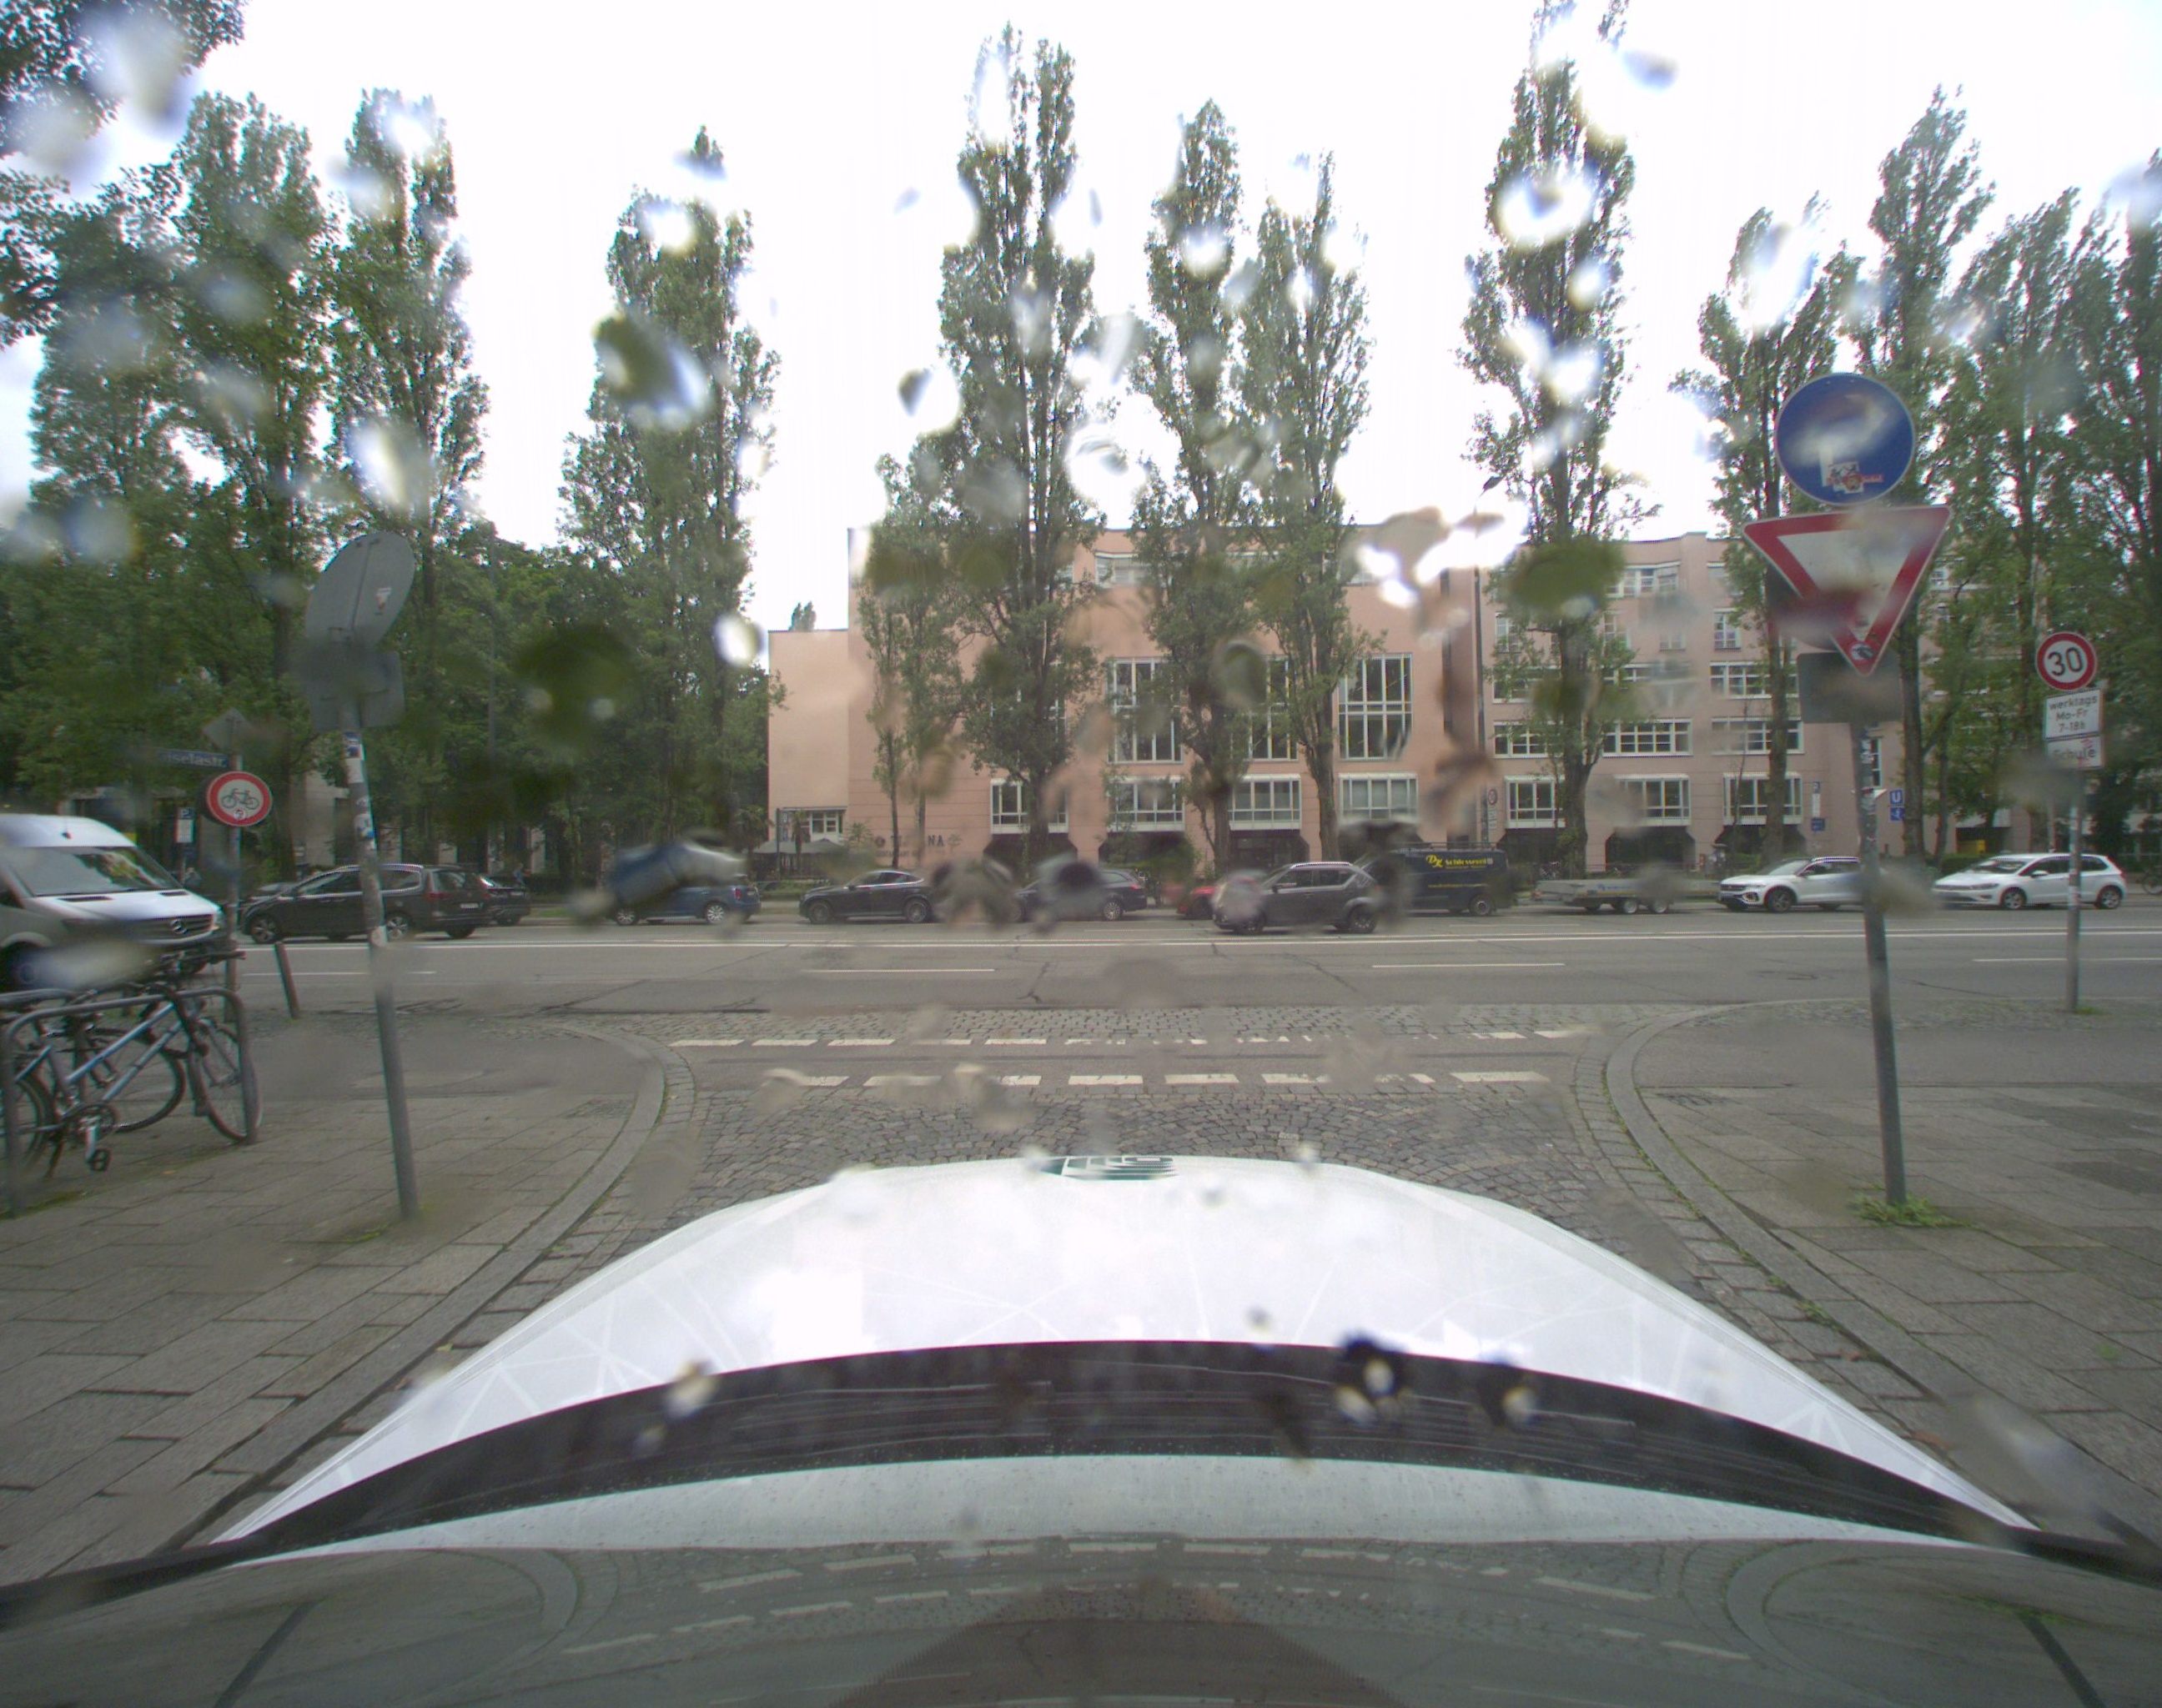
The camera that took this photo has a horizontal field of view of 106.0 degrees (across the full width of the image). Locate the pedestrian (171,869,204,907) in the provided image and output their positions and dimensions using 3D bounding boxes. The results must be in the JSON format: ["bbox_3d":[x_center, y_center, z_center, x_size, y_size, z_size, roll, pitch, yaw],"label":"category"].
[{"bbox_3d":[-40.663,1.536,37.080,0.726,1.713,0.710,-1,-1,3],"label":"pedestrian"}]

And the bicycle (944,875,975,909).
[{"bbox_3d":[-4.245,1.314,28.585,0.671,1.124,1.990,-1,0,3],"label":"bicycle"}]

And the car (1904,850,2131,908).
[{"bbox_3d":[26.970,0.686,23.563,4.297,1.542,1.999,-1,0,-1],"label":"car"}]

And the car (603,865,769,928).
[{"bbox_3d":[-11.736,1.253,24.400,4.051,1.732,1.793,-1,-2,0],"label":"car"}]

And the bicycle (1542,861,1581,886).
[{"bbox_3d":[21.889,0.874,37.139,0.671,1.124,1.990,-1,0,3],"label":"bicycle"}]

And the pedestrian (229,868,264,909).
[{"bbox_3d":[-35.000,1.438,34.163,0.726,1.713,0.710,-1,-1,3],"label":"pedestrian"}]

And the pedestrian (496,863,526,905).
[{"bbox_3d":[-23.355,1.212,33.381,0.726,1.713,0.710,-1,-1,3],"label":"pedestrian"}]

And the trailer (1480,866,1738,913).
[{"bbox_3d":[15.329,1.006,23.967,5.994,1.199,2.406,-1,0,2],"label":"trailer"}]

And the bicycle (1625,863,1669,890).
[{"bbox_3d":[25.479,0.999,36.716,0.671,1.124,1.990,-1,0,3],"label":"bicycle"}]

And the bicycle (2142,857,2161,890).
[{"bbox_3d":[37.633,0.672,27.660,0.671,1.124,1.990,-1,0,3],"label":"bicycle"}]

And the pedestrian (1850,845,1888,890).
[{"bbox_3d":[30.073,0.517,31.084,0.726,1.713,0.710,-1,-1,3],"label":"pedestrian"}]

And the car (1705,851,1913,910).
[{"bbox_3d":[20.728,0.768,23.346,4.202,1.542,1.808,-1,-2,4],"label":"car"}]

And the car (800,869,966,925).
[{"bbox_3d":[-5.851,1.253,24.400,4.482,1.529,1.794,-1,0,2],"label":"car"}]

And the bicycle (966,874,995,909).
[{"bbox_3d":[-3.503,1.301,28.543,0.671,1.124,1.990,-1,0,3],"label":"bicycle"}]

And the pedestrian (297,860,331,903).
[{"bbox_3d":[-31.300,1.111,33.235,0.726,1.713,0.710,-1,-1,3],"label":"pedestrian"}]

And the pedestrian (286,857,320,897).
[{"bbox_3d":[-33.127,0.973,34.687,0.726,1.713,0.710,-1,-1,3],"label":"pedestrian"}]

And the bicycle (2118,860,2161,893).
[{"bbox_3d":[36.892,0.763,27.727,0.671,1.124,1.990,-1,0,3],"label":"bicycle"}]

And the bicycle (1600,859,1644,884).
[{"bbox_3d":[24.495,0.778,36.895,0.671,1.124,2.108,-1,0,3],"label":"bicycle"}]

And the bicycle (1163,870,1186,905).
[{"bbox_3d":[3.239,1.142,28.367,0.671,1.124,1.743,-1,0,3],"label":"bicycle"}]

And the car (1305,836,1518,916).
[{"bbox_3d":[9.584,0.625,23.985,5.458,2.197,2.025,-1,0,2],"label":"car"}]

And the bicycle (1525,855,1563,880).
[{"bbox_3d":[21.074,0.607,37.083,0.671,1.124,1.990,-1,0,3],"label":"bicycle"}]

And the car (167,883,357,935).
[{"bbox_3d":[-24.558,1.620,24.519,3.854,1.412,1.794,1,-2,2],"label":"car"}]

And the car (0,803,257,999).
[{"bbox_3d":[-16.400,0.674,12.210,5.999,2.651,2.048,-1,1,1],"label":"car"}]

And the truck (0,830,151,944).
[{"bbox_3d":[-30.308,0.885,22.234,7.028,2.908,2.603,-1,-1,2],"label":"truck"}]

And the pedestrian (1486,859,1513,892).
[{"bbox_3d":[17.384,0.879,33.848,0.711,1.369,0.725,0,-1,-27],"label":"pedestrian"}]

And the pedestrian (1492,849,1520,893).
[{"bbox_3d":[16.779,0.651,32.134,0.726,1.713,0.710,-1,-1,3],"label":"pedestrian"}]

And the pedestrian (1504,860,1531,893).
[{"bbox_3d":[18.157,0.936,33.891,0.726,1.369,0.710,-1,-1,3],"label":"pedestrian"}]

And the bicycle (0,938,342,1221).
[{"bbox_3d":[-4.898,1.063,4.192,0.487,1.093,1.706,-1,0,7],"label":"bicycle"}]

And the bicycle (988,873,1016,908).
[{"bbox_3d":[-2.751,1.257,28.492,0.671,1.124,1.990,-1,0,3],"label":"bicycle"}]

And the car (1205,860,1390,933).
[{"bbox_3d":[4.765,0.933,18.356,3.725,1.527,1.850,-1,-1,2],"label":"car"}]

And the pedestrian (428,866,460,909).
[{"bbox_3d":[-25.719,1.338,32.872,0.726,1.713,0.710,-1,-1,3],"label":"pedestrian"}]

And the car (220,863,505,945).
[{"bbox_3d":[-16.267,1.120,18.627,4.780,1.722,2.001,-1,-2,2],"label":"car"}]

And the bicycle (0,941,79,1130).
[{"bbox_3d":[-6.785,1.102,4.255,0.487,1.093,1.988,-1,0,7],"label":"bicycle"}]

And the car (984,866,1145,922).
[{"bbox_3d":[-0.446,1.159,24.182,4.590,1.529,1.794,-1,0,2],"label":"car"}]

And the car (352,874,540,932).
[{"bbox_3d":[-18.866,1.435,24.324,4.207,1.601,1.794,-1,0,2],"label":"car"}]

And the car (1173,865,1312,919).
[{"bbox_3d":[4.651,1.091,23.863,3.843,1.449,1.680,-1,0,4],"label":"car"}]

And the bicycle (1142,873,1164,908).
[{"bbox_3d":[2.502,1.251,28.348,0.671,1.124,1.743,-1,0,3],"label":"bicycle"}]

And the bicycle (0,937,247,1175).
[{"bbox_3d":[-5.670,1.077,4.373,0.487,1.093,1.706,-1,0,7],"label":"bicycle"}]

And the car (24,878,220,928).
[{"bbox_3d":[-28.991,1.460,24.697,3.854,1.412,1.794,0,-1,2],"label":"car"}]
